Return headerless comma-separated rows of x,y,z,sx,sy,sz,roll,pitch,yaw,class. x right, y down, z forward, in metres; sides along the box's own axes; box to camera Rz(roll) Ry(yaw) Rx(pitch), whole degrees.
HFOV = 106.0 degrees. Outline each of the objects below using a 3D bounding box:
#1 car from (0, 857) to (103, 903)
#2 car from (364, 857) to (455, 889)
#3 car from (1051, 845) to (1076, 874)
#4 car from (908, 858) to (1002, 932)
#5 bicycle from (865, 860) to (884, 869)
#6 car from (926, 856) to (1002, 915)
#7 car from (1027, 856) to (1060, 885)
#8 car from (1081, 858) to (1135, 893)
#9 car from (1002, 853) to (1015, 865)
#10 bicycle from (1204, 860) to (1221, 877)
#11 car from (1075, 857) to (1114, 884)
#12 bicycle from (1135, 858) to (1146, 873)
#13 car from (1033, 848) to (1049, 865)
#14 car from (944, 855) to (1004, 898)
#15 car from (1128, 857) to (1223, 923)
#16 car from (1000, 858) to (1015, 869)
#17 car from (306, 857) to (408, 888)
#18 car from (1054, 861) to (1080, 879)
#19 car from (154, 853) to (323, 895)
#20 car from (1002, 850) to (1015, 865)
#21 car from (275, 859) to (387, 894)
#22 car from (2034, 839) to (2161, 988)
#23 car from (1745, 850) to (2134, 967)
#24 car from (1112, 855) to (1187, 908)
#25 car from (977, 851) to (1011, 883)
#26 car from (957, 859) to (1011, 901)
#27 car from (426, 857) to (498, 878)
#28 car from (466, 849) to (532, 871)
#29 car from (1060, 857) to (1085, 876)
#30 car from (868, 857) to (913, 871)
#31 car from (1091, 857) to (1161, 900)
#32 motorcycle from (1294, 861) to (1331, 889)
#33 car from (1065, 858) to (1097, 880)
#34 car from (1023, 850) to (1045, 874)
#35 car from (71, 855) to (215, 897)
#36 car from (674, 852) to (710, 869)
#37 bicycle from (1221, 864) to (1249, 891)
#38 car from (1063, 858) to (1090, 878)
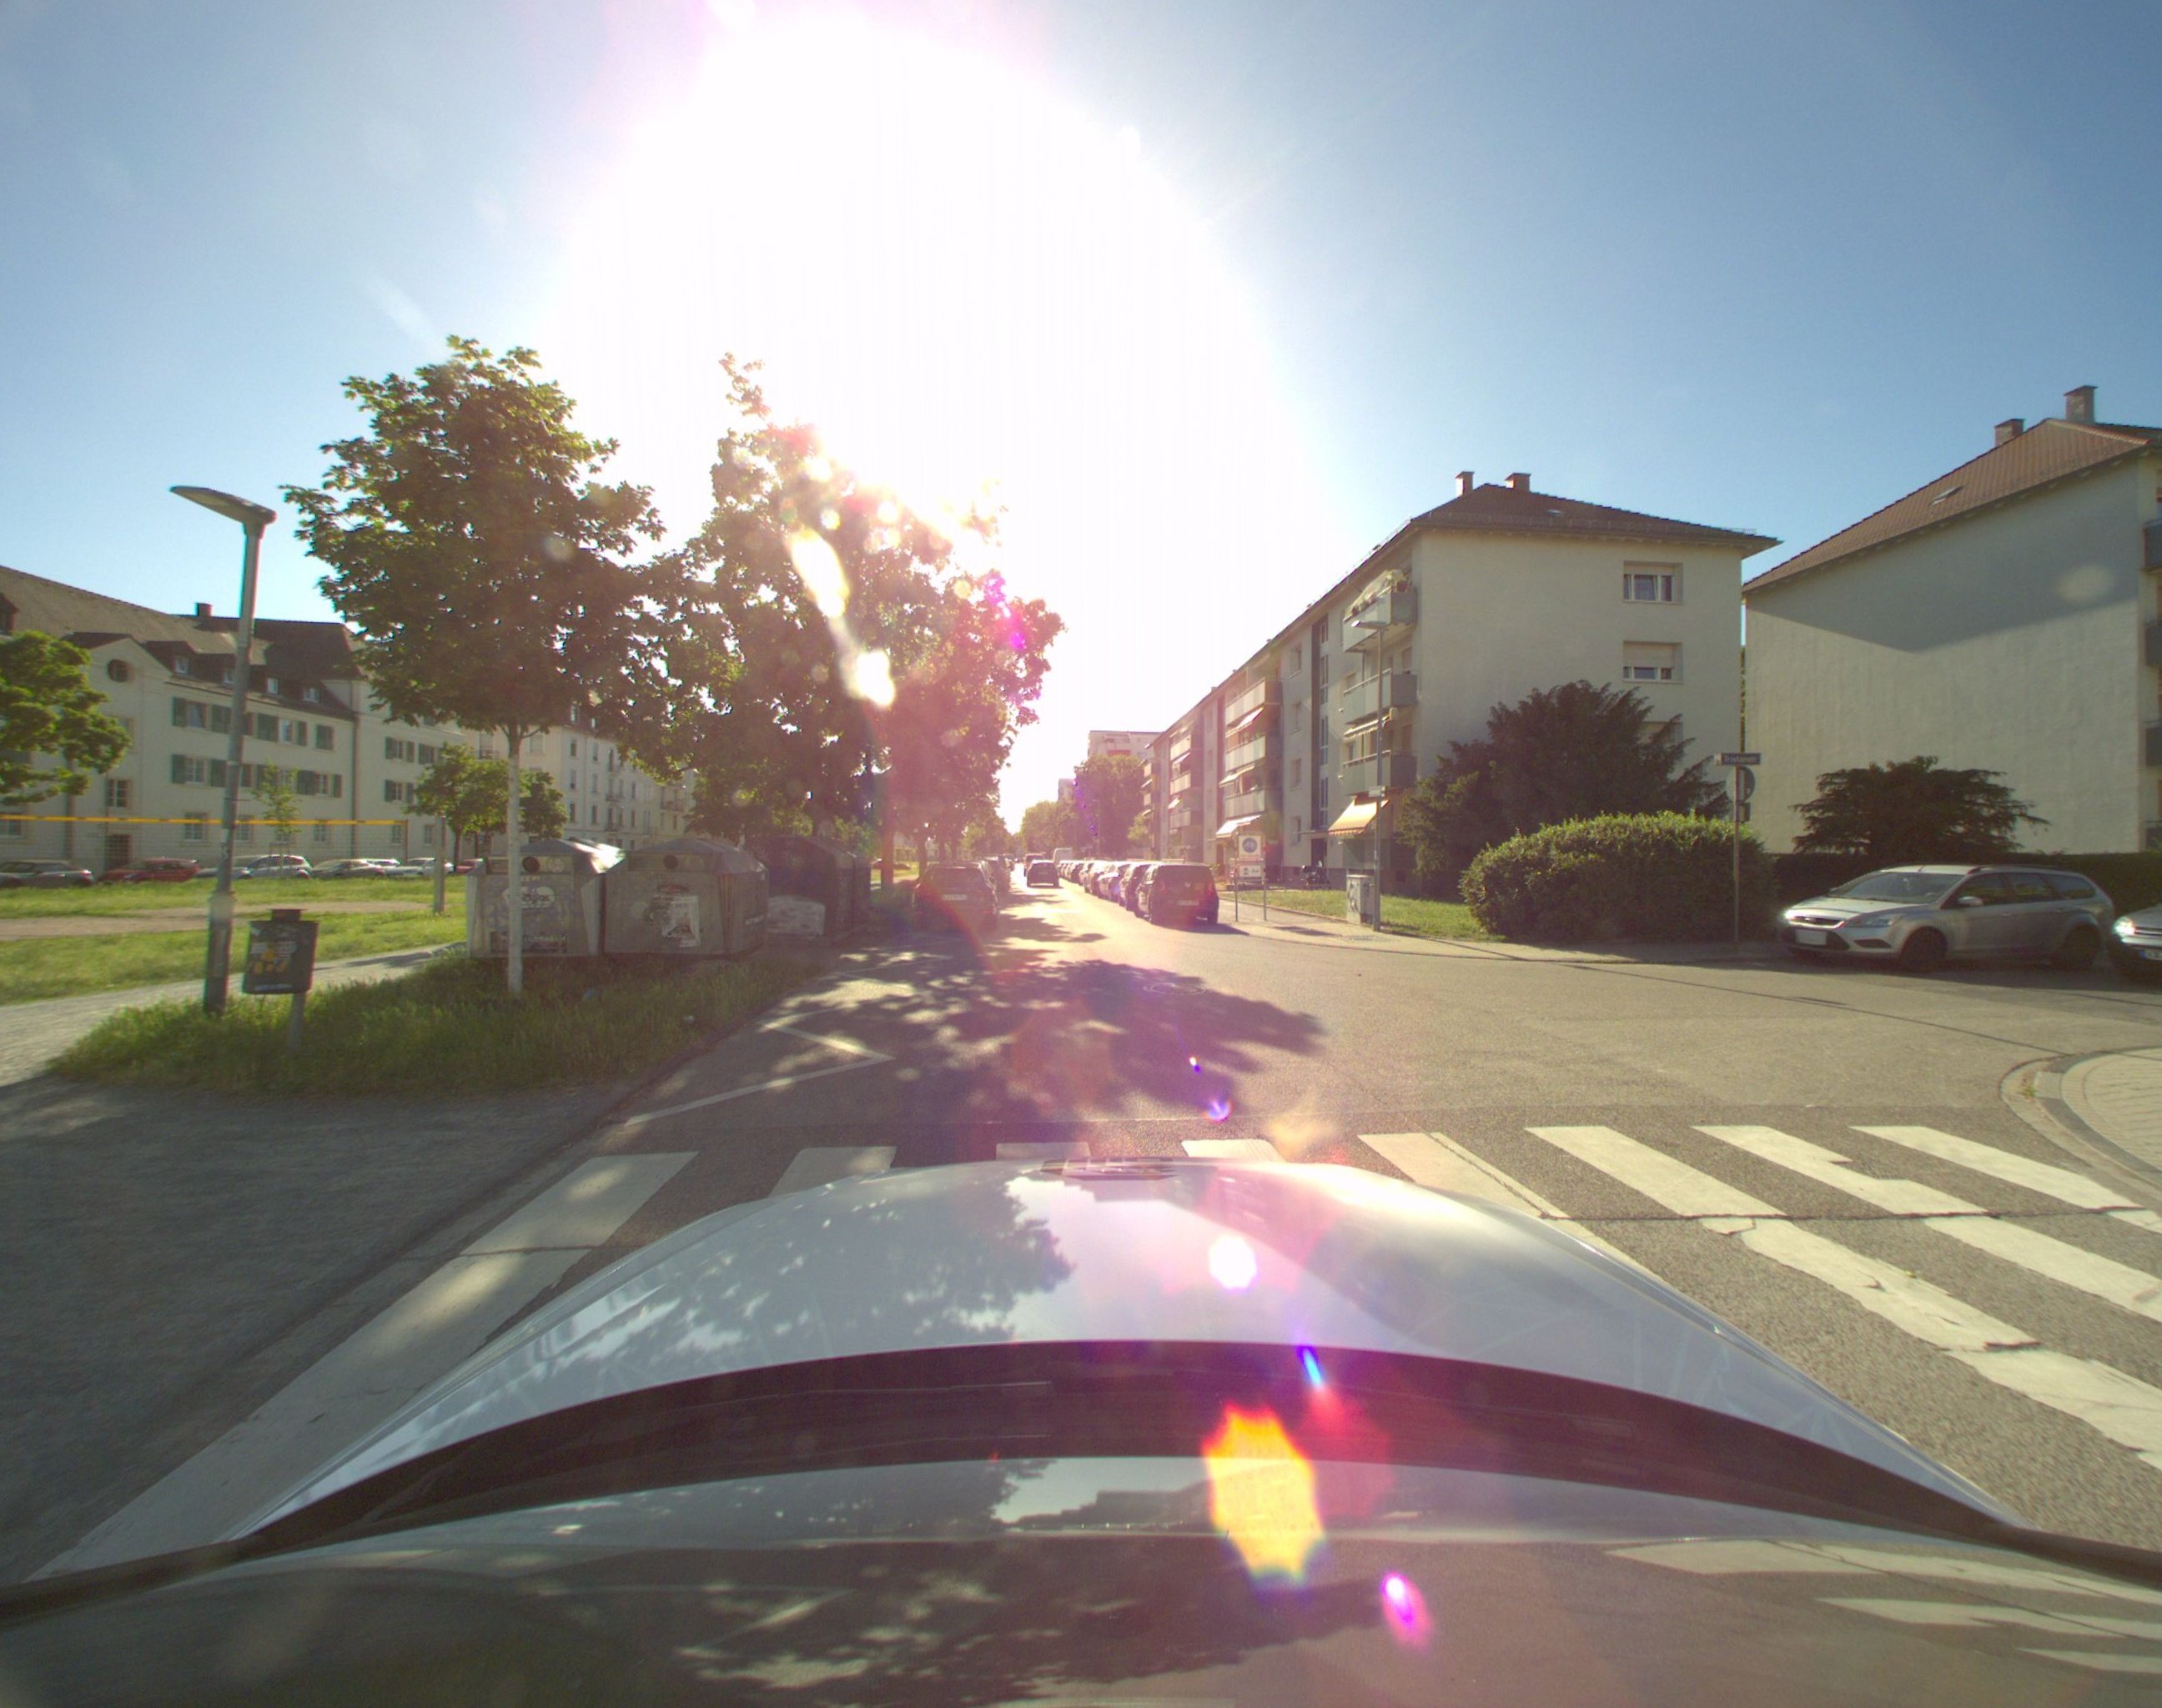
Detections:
-44.487,1.053,33.427,2.445,1.820,5.251,0,0,-3,car
-40.224,1.088,48.958,2.234,1.820,4.247,0,0,-7,car
-1.794,0.529,79.809,2.138,2.713,6.832,-1,0,-3,car
-2.784,0.826,18.602,1.833,1.452,4.956,0,0,-7,car
-23.074,1.209,90.929,1.989,1.016,0.652,1,-1,-33,bicycle
-3.453,0.845,24.324,1.992,1.516,5.145,-1,0,-7,car
-2.125,0.908,45.651,1.776,1.531,3.995,2,0,-4,car
1.153,0.927,36.993,1.840,1.473,5.055,0,0,-5,car
-12.003,0.762,135.806,2.095,1.943,4.120,0,0,-5,car
8.396,0.908,52.039,0.522,1.071,2.006,-2,0,-6,bicycle
0.770,0.952,47.916,1.747,1.499,3.850,0,0,-8,car
5.100,0.996,69.413,0.595,1.176,2.009,1,-2,-6,bicycle
-6.732,0.394,136.815,2.161,2.689,5.401,0,0,-8,car
-3.786,0.790,29.372,1.876,1.419,3.798,0,-1,-4,car
2.300,0.838,20.637,1.656,1.474,3.786,2,0,-5,car
-9.482,1.219,105.240,1.744,1.425,3.911,-2,-1,-4,car
-46.029,1.117,51.939,2.150,1.886,5.149,0,0,-5,car
-1.272,1.402,71.860,1.847,1.466,4.193,1,0,-6,car
-39.305,0.888,38.275,2.445,1.820,5.446,0,0,-3,car
-12.680,0.599,142.172,2.094,2.496,4.121,0,0,-4,car
-39.731,1.176,43.305,2.312,1.750,4.004,0,0,-4,car
15.001,0.726,10.245,4.137,1.790,1.900,0,0,-6,car
13.012,0.771,12.491,4.403,1.623,1.909,0,0,-8,car
2.106,0.822,26.108,1.766,1.529,4.551,0,0,-4,car
-4.999,0.760,47.390,1.861,1.785,4.982,0,-1,-5,car
-4.091,1.057,35.092,2.022,1.625,4.751,-1,0,-4,car
-46.774,0.990,61.685,1.991,1.485,4.948,0,0,-6,car
-54.873,0.557,76.881,4.560,2.014,2.134,1,0,-9,car
-0.737,1.026,67.214,1.874,1.475,4.133,0,0,-4,car
-20.597,1.042,88.065,4.360,1.409,1.903,1,1,-29,car
1.677,0.888,31.642,1.872,1.534,4.480,0,0,-8,car
9.763,0.885,34.433,0.583,1.151,2.028,0,-1,-14,motorcycle
-0.041,1.028,56.443,1.697,1.435,4.461,-1,0,-6,car
-4.110,0.709,71.158,1.890,1.991,4.005,-1,0,-4,car
-44.944,1.029,39.183,2.261,1.905,4.158,0,0,-6,car
-44.039,0.693,92.288,2.080,1.872,5.085,0,0,-7,car
6.405,0.950,33.973,0.718,1.077,1.894,1,0,-3,bicycle
-0.384,1.013,61.857,1.718,1.435,4.146,0,0,-5,car
